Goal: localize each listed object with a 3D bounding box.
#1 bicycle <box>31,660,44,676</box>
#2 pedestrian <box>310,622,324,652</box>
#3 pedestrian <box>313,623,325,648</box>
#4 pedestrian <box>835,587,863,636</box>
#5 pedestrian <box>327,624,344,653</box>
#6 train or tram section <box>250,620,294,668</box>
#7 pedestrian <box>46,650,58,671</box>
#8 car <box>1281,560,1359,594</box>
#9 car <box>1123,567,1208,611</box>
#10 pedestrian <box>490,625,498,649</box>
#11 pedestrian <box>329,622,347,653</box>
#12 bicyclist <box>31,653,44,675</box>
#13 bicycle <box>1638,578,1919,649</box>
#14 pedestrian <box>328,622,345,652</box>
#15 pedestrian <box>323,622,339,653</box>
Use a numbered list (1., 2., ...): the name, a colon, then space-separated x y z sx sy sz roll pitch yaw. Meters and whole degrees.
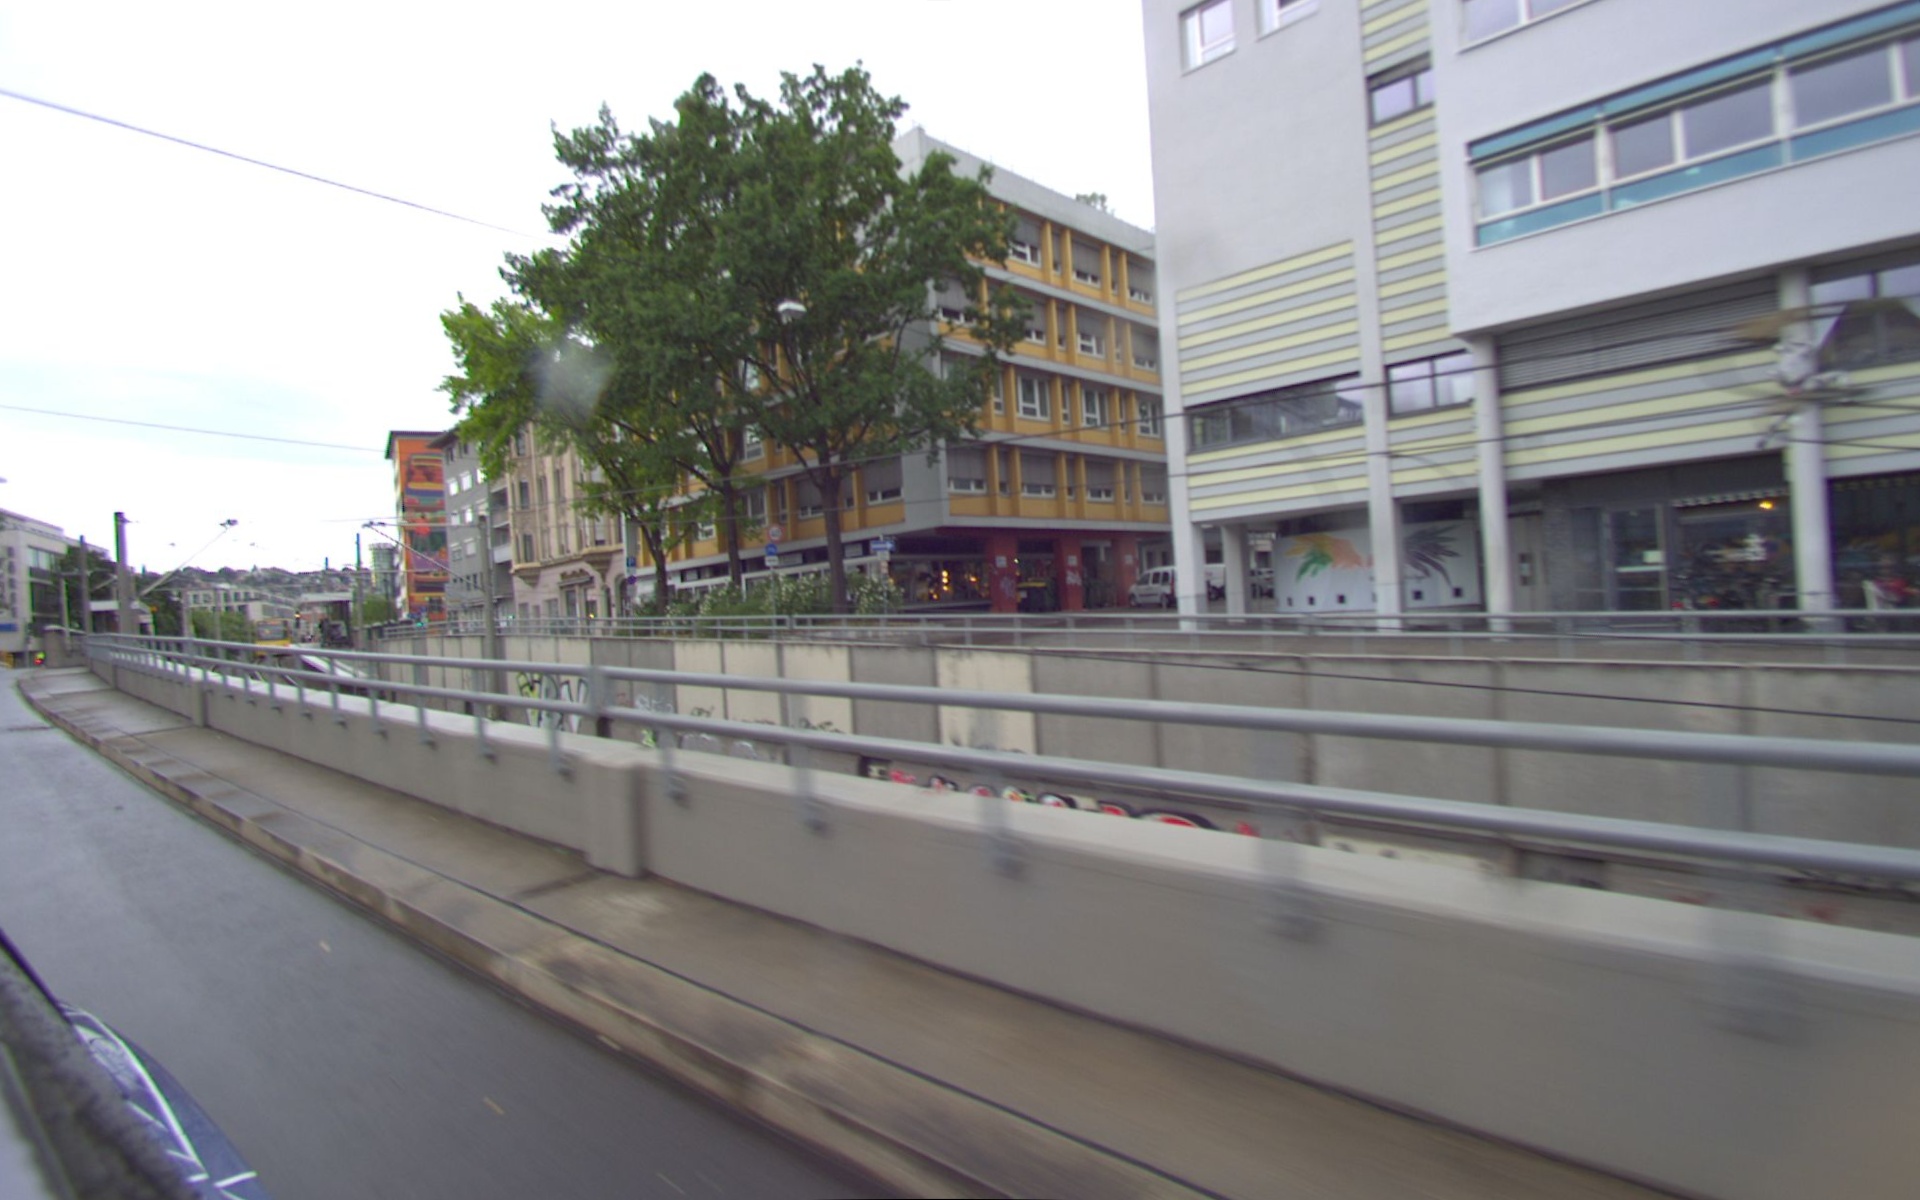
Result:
1. bicycle: -68.588 5.056 75.243 0.654 1.061 2.059 -1 -3 -42
2. pedestrian: -37.467 2.169 58.965 0.624 1.672 0.684 -4 -1 -32
3. pedestrian: -41.258 2.283 65.126 0.550 1.549 0.518 -3 0 -35
4. pedestrian: -4.300 0.449 39.173 0.657 1.863 0.831 0 -2 -43
5. pedestrian: -35.841 2.209 58.073 0.761 1.661 0.779 3 -5 -31
6. train or tram section: -62.312 4.085 91.828 2.741 3.719 9.740 -5 -2 -33
7. pedestrian: -81.991 5.484 91.384 0.709 1.775 0.960 -3 -3 -40
8. car: 21.644 -1.361 60.937 1.801 1.800 4.009 -3 0 -37
9. car: 9.095 -0.517 45.025 1.799 1.800 4.013 -3 2 -21
10. pedestrian: -34.333 2.740 74.550 0.415 1.695 0.609 -4 -1 -25
11. pedestrian: -34.658 2.105 56.436 0.761 1.661 0.779 3 -5 -31
12. bicyclist: -68.586 4.760 75.223 0.654 1.651 0.793 3 -4 -42
13. bicycle: 13.912 0.211 16.534 4.521 1.051 1.675 -1 0 43
14. pedestrian: -35.244 2.090 57.223 0.761 1.661 0.779 3 -5 -31
15. pedestrian: -34.460 2.052 55.430 0.668 1.661 0.898 3 -4 -31
